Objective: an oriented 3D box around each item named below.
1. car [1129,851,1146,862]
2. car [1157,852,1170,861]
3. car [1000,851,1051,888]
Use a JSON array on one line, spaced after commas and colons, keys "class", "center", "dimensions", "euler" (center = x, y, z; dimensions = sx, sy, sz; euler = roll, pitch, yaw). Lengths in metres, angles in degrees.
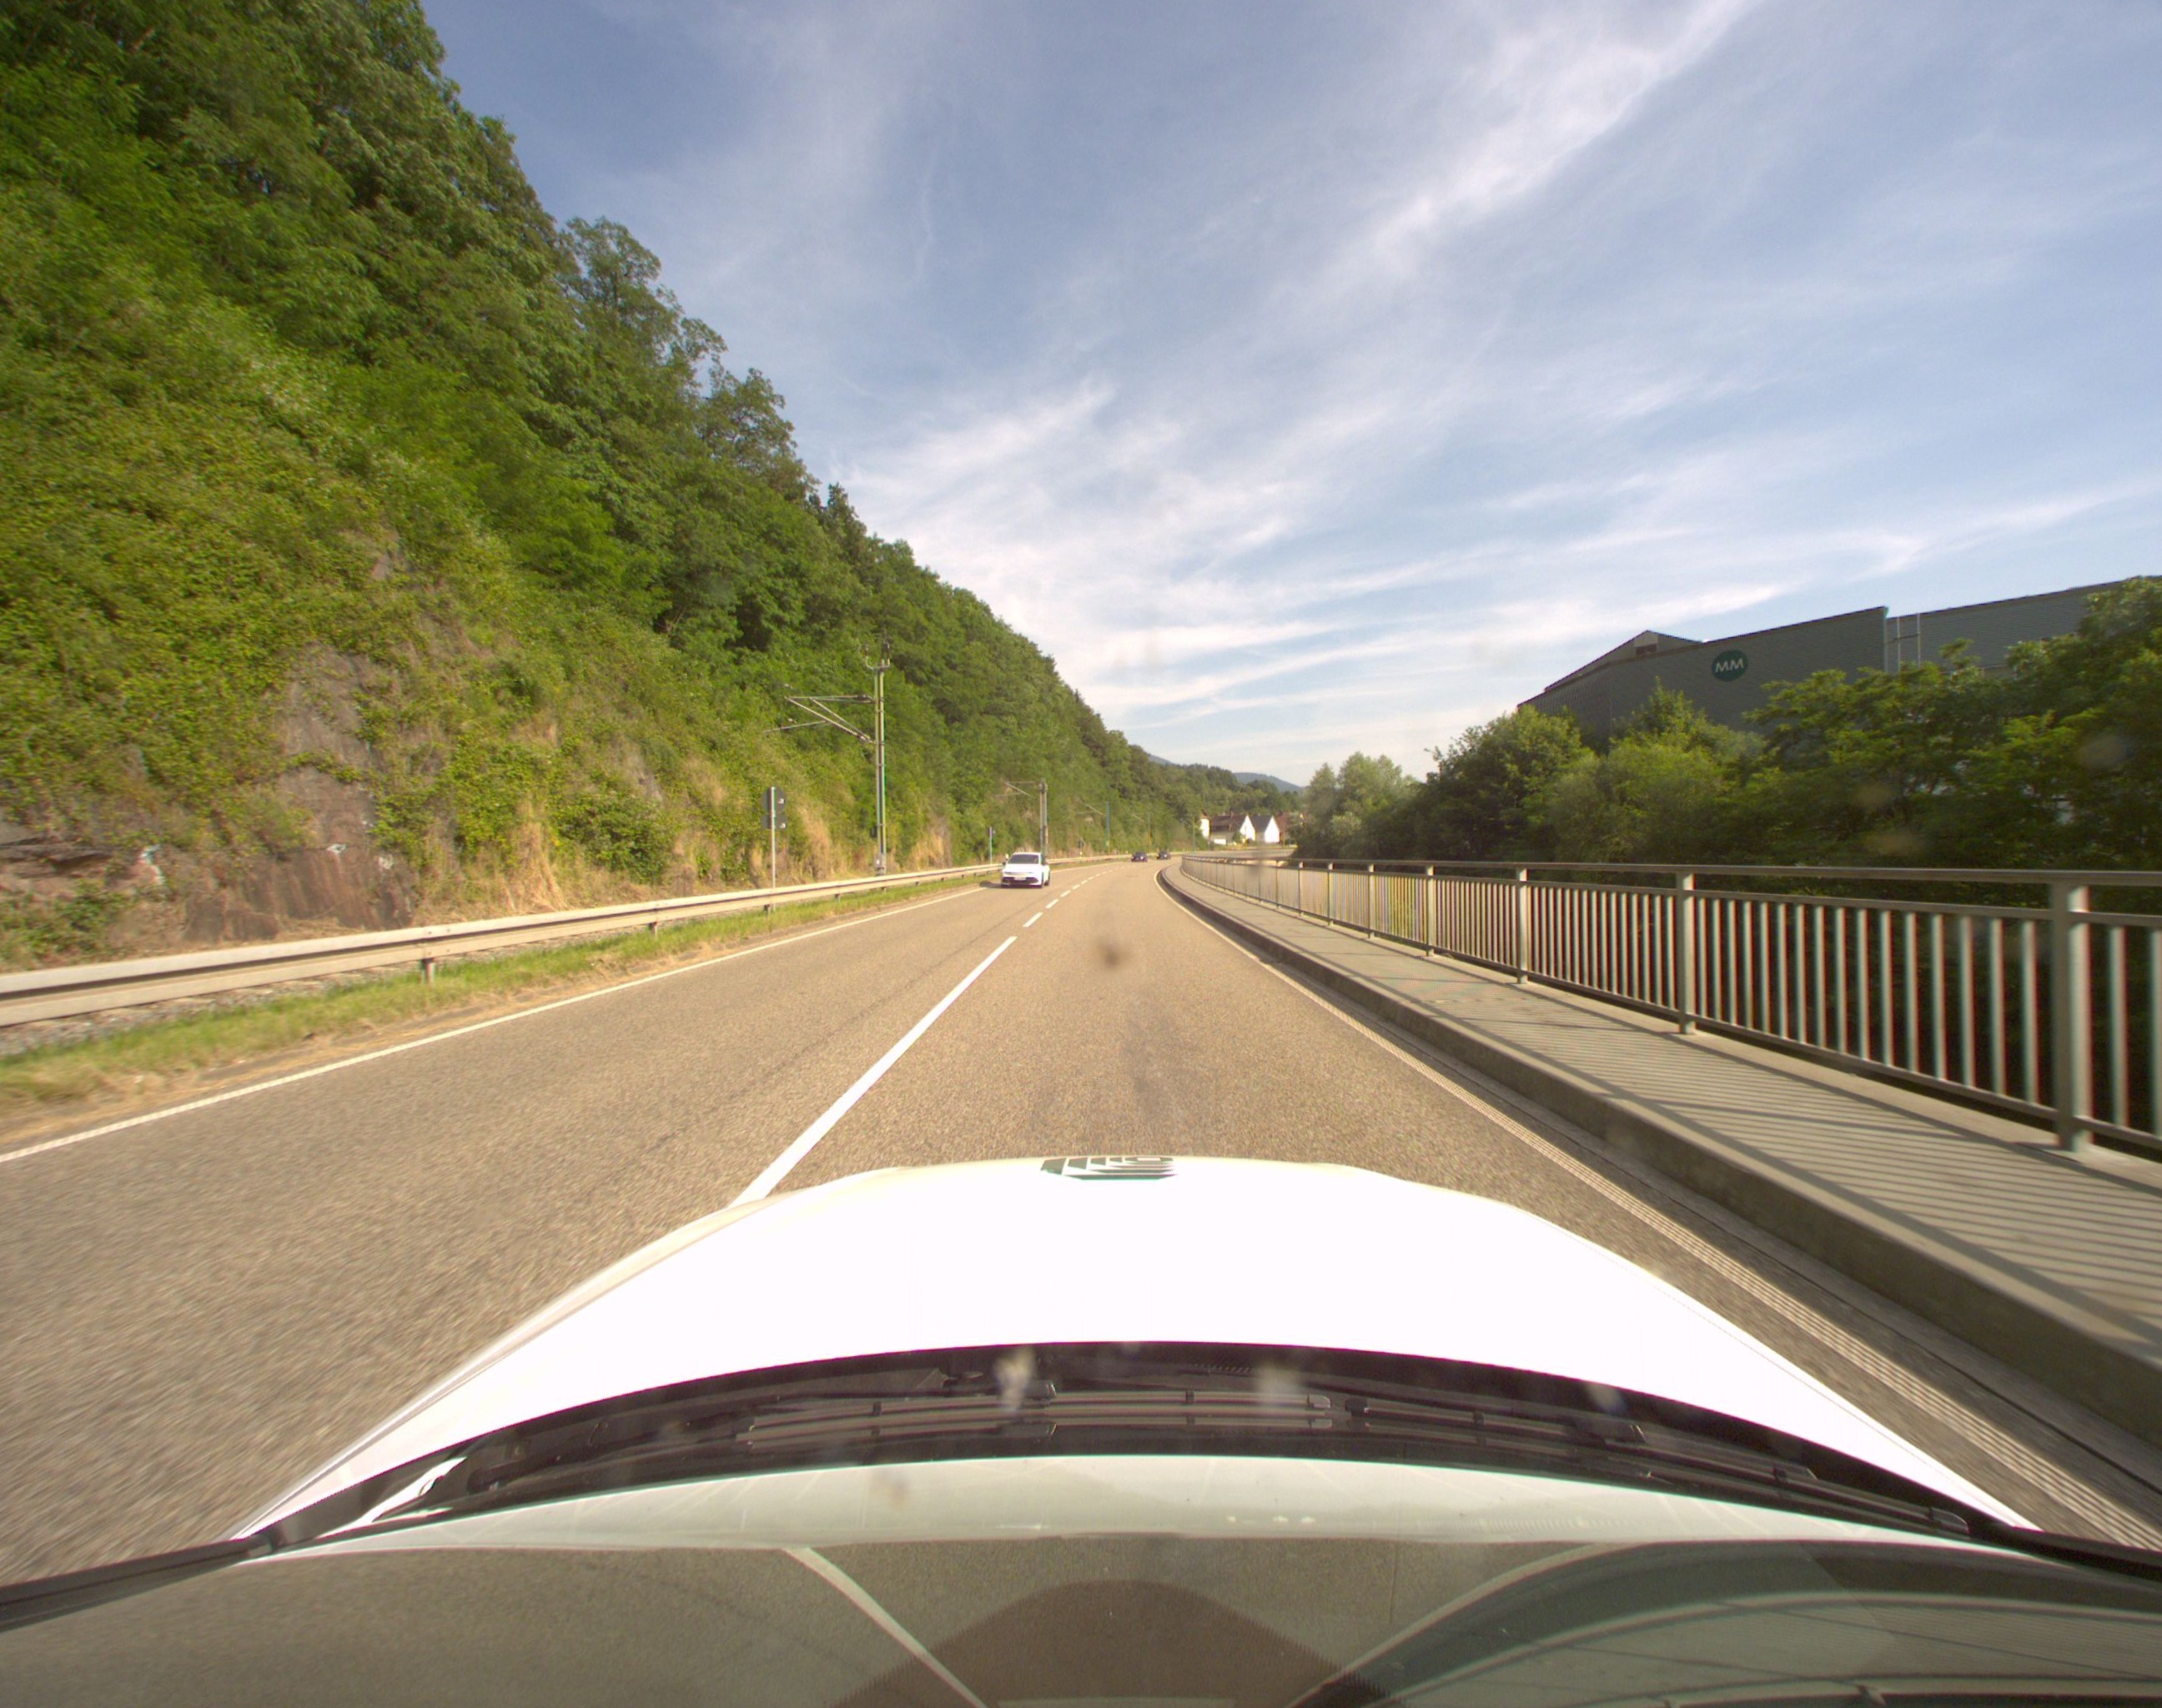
[{"class": "car", "center": [7.743, 0.322, 111.112], "dimensions": [1.836, 1.440, 3.908], "euler": [-3, 0, 10]}, {"class": "car", "center": [13.552, 0.344, 133.690], "dimensions": [1.835, 1.402, 4.490], "euler": [0, 0, 11]}, {"class": "car", "center": [-2.402, 0.658, 36.435], "dimensions": [1.840, 1.544, 4.606], "euler": [0, 0, 2]}]
